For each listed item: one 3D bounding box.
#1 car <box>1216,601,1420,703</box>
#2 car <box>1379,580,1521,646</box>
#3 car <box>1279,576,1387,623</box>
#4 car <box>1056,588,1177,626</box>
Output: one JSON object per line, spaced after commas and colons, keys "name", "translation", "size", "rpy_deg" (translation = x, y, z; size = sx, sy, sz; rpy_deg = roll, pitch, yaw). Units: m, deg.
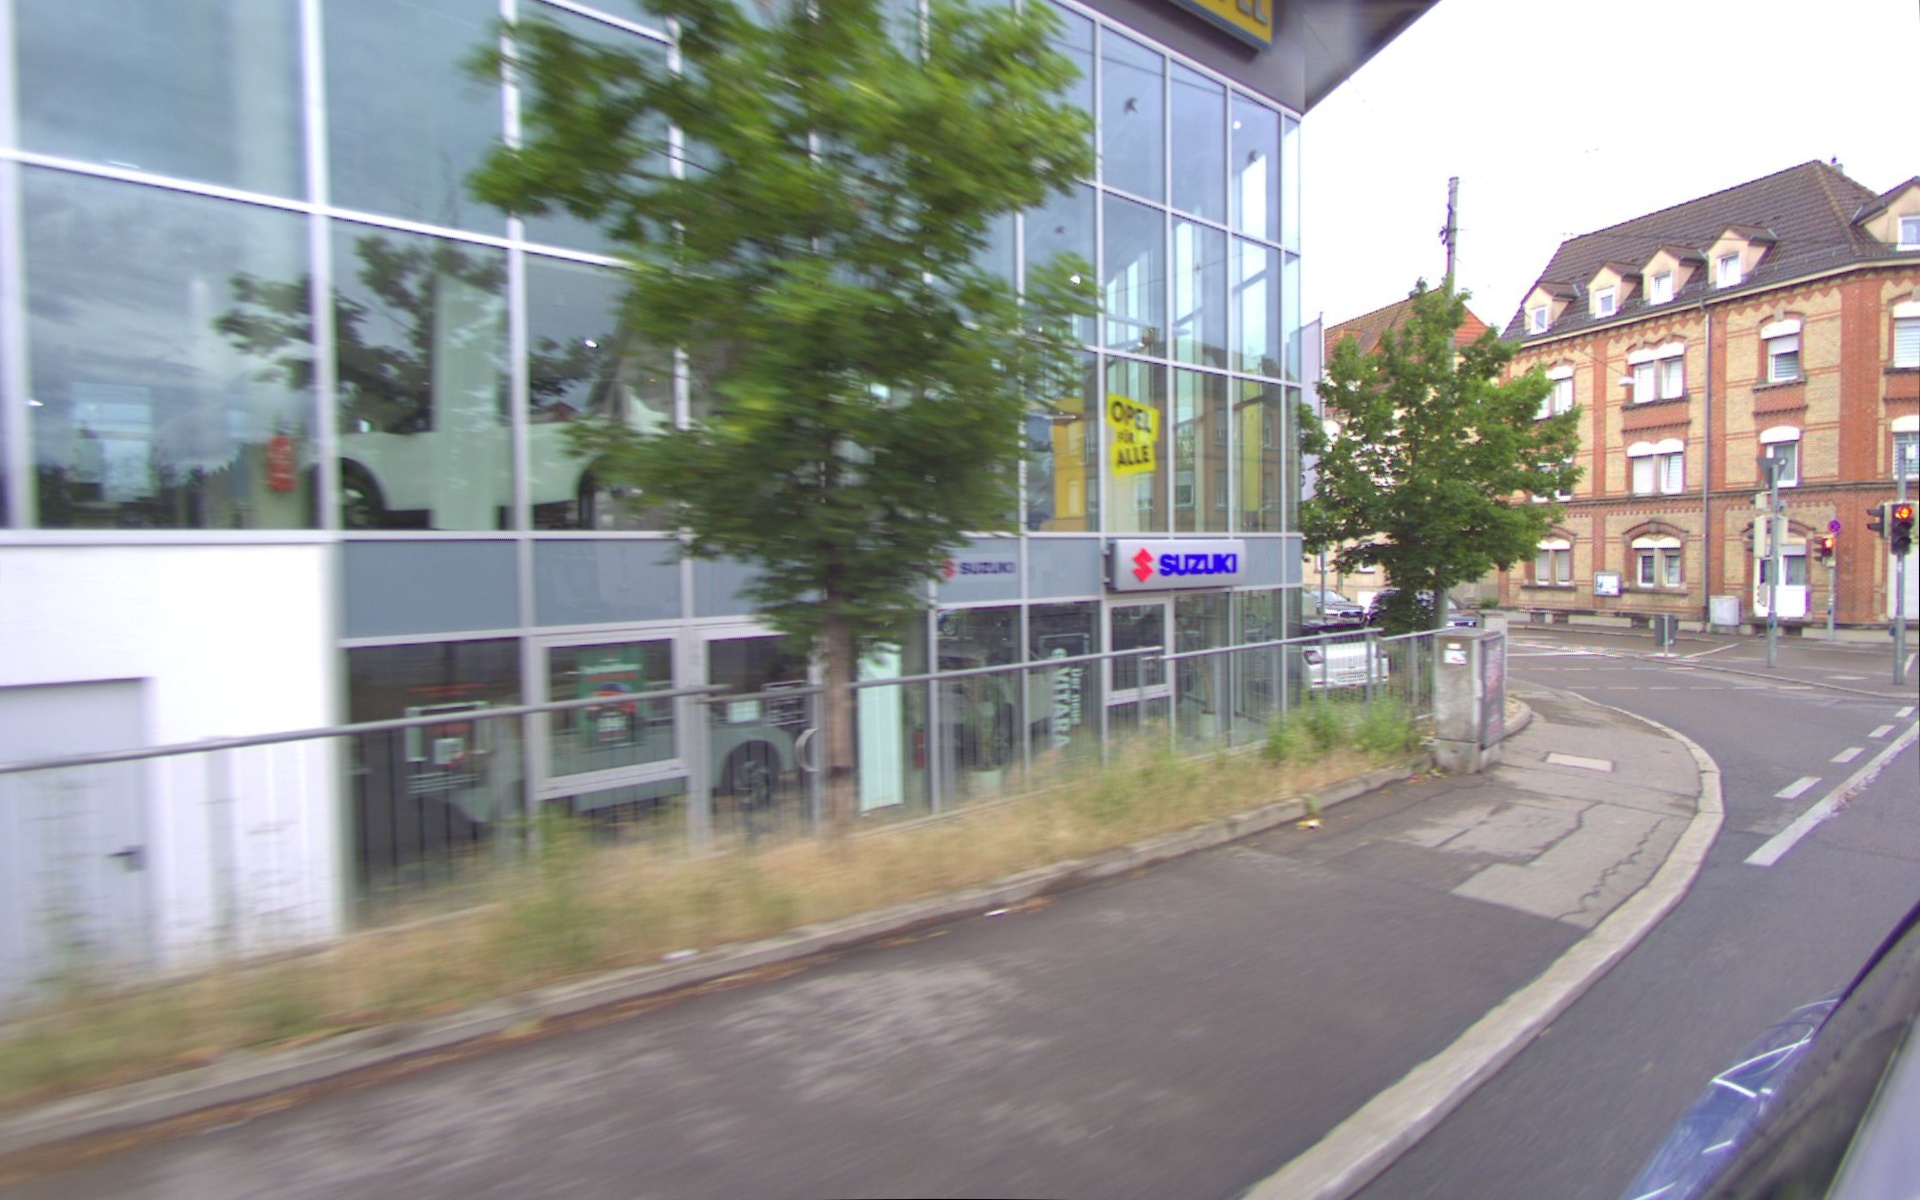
{"name": "car", "translation": [6.829, 0.906, 19.799], "size": [1.859, 1.526, 4.009], "rpy_deg": [-4, 3, -12]}
{"name": "car", "translation": [14.174, 0.309, 29.581], "size": [1.769, 1.683, 4.261], "rpy_deg": [0, 2, -5]}
{"name": "car", "translation": [13.495, -0.064, 36.899], "size": [1.767, 1.523, 4.263], "rpy_deg": [0, 2, -10]}
{"name": "car", "translation": [5.612, 0.235, 36.513], "size": [3.917, 1.288, 1.727], "rpy_deg": [0, 2, -11]}
